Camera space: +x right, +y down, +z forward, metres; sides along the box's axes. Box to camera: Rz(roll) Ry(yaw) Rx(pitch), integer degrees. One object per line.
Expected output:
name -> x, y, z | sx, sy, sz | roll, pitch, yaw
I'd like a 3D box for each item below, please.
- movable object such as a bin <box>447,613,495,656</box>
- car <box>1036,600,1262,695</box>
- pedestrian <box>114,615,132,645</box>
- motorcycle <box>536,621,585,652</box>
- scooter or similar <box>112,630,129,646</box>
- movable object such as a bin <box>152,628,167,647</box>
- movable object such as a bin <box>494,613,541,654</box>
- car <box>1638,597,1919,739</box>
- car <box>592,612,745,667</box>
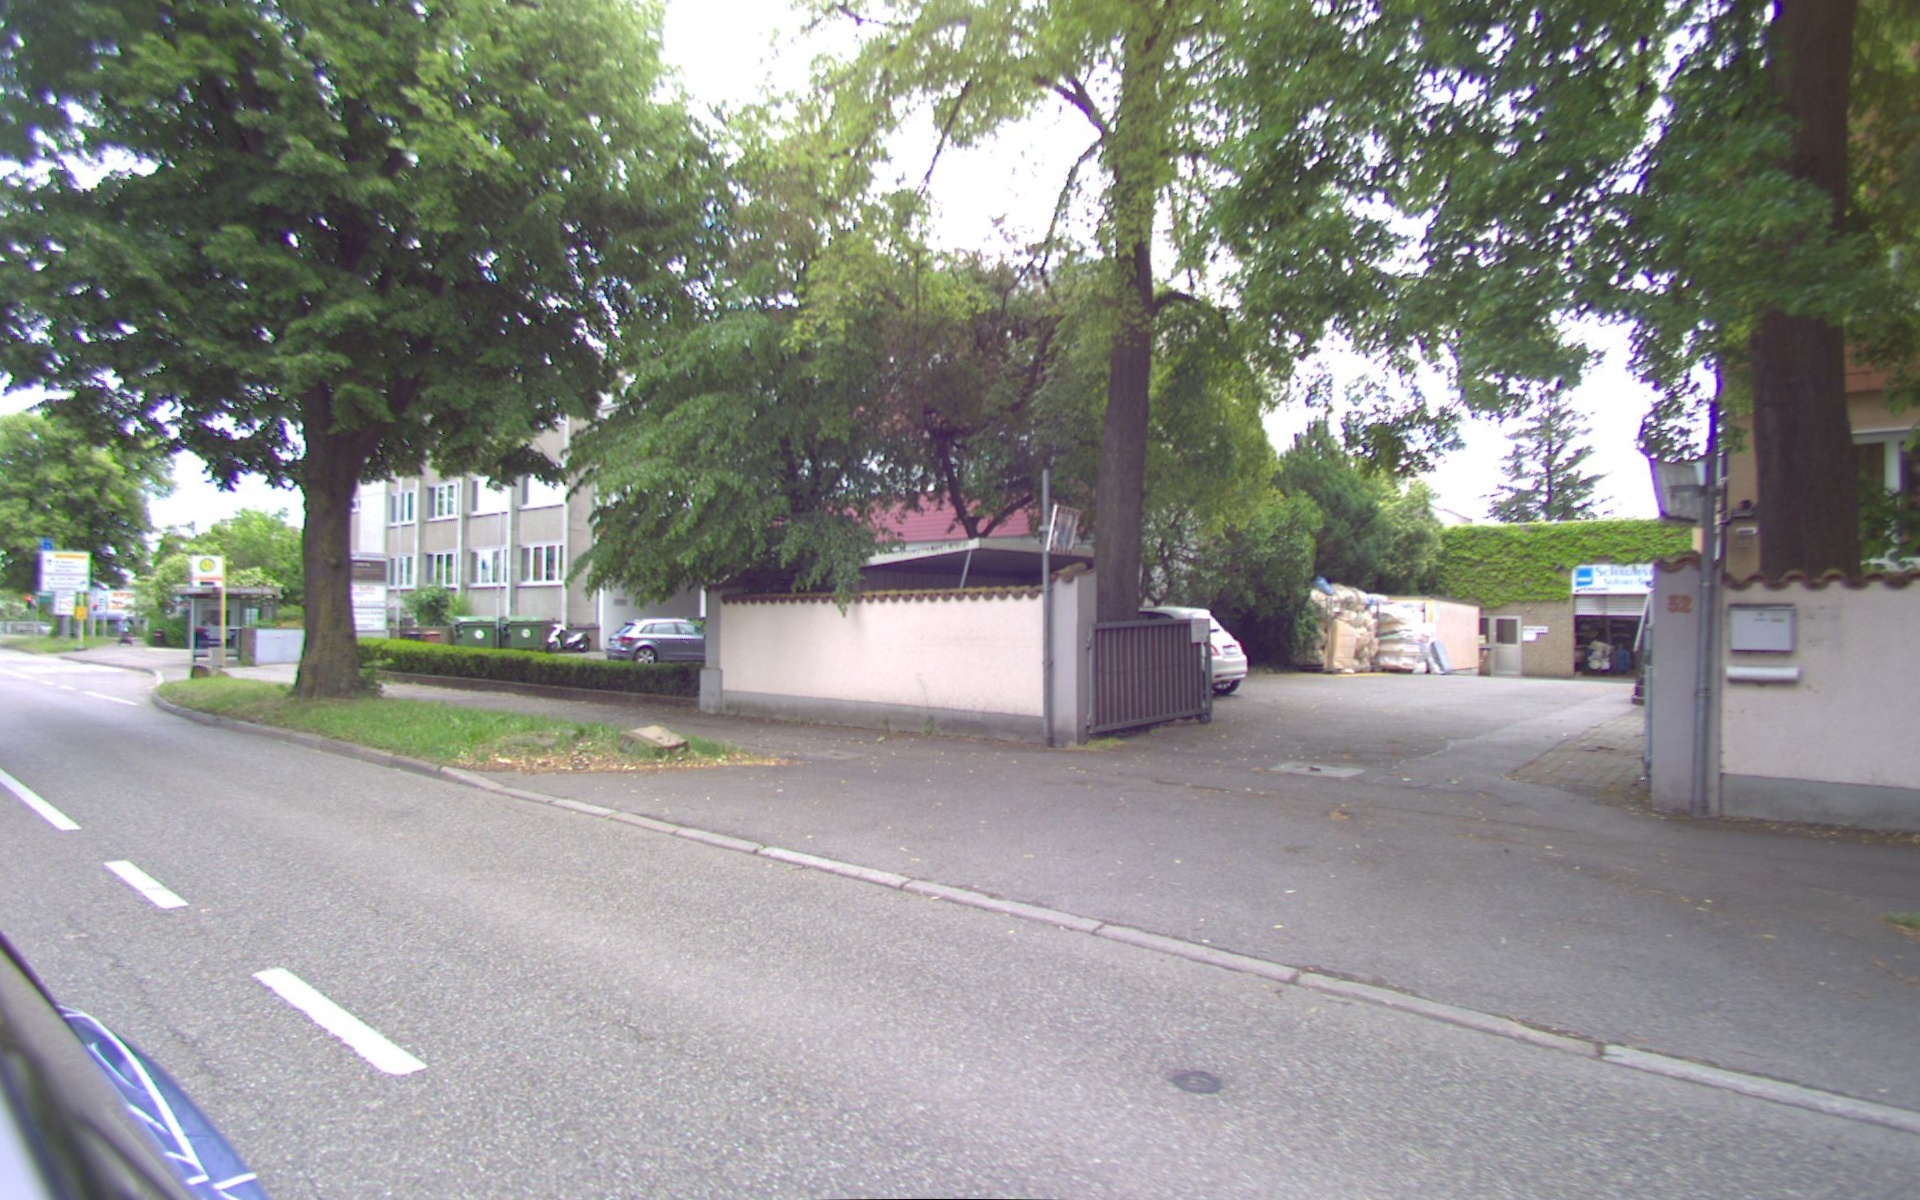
movable object such as a bin -> -17.449, 1.231, 36.127 | 0.992, 1.476, 1.285 | 0, 0, 40
car -> 3.256, 0.759, 17.798 | 3.615, 1.497, 1.604 | 0, 0, 41
pedestrian -> -44.708, 1.603, 54.059 | 0.662, 1.570, 0.521 | 0, 0, -33
motorcycle -> -15.276, 1.380, 38.715 | 0.639, 1.148, 1.624 | 0, 0, 41
scooter or similar -> -44.278, 1.980, 53.371 | 0.598, 0.792, 0.861 | 0, 0, -33
movable object such as a bin -> -40.959, 1.912, 51.779 | 0.558, 0.934, 0.609 | 1, -1, -34
movable object such as a bin -> -16.366, 1.213, 37.417 | 0.884, 1.476, 1.347 | 0, 0, 40
car -> 11.136, 0.788, 12.909 | 3.996, 1.652, 1.763 | 0, 0, 40
car -> -8.760, 1.145, 30.513 | 4.082, 1.490, 1.817 | 0, 0, -35
